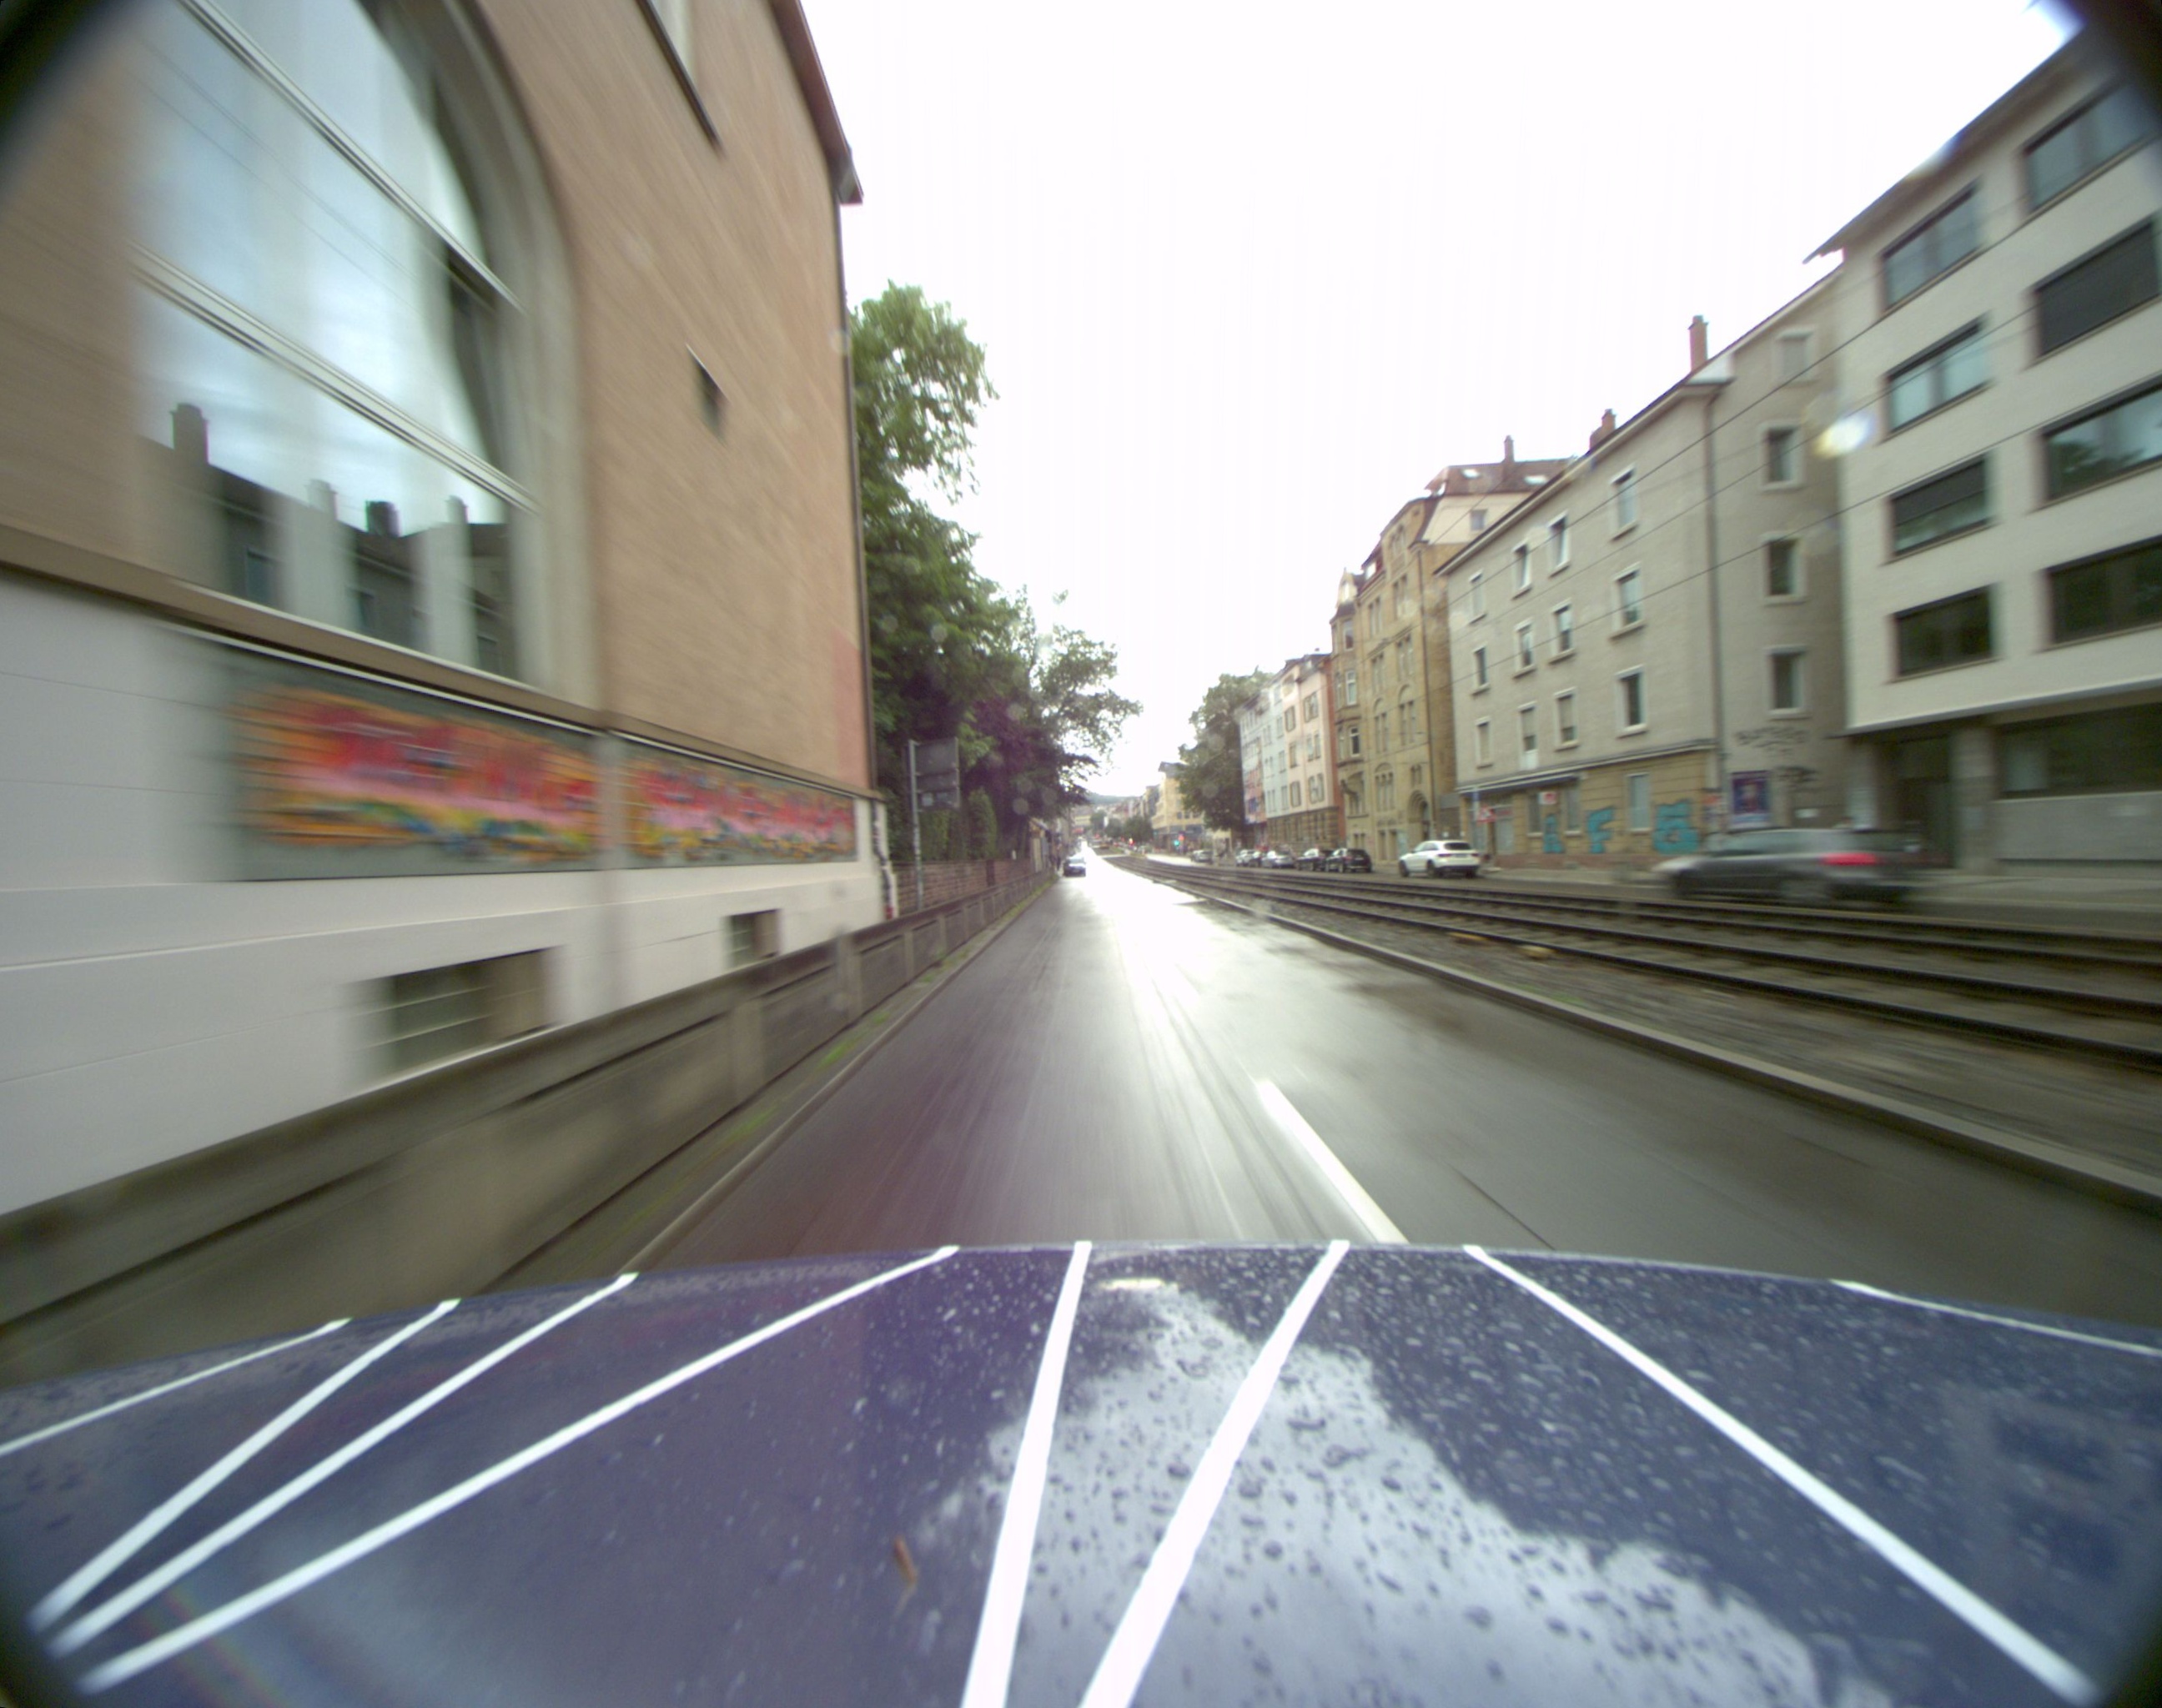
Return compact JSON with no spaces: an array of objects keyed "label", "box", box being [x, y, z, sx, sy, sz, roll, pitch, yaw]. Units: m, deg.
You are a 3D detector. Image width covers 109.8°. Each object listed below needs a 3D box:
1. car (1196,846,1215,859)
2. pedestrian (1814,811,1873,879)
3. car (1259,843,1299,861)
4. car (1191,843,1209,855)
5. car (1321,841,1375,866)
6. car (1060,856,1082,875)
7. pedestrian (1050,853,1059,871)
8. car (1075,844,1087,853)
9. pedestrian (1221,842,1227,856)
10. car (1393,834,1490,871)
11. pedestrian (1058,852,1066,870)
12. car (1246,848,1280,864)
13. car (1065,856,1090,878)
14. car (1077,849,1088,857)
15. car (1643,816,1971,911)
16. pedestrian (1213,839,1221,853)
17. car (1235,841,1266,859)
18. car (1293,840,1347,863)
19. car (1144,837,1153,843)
[{"label":"car","box":[16.499,-0.203,100.946,1.842,1.532,4.228,-1,0,1]},{"label":"pedestrian","box":[18.843,-0.230,18.786,0.548,1.603,0.798,-6,1,3]},{"label":"car","box":[15.905,-0.167,61.200,1.998,1.389,5.022,0,0,1]},{"label":"car","box":[16.472,-0.668,105.601,1.842,1.532,4.228,-1,0,1]},{"label":"car","box":[15.842,-0.028,45.290,1.741,1.447,4.170,0,0,0]},{"label":"car","box":[-0.890,0.969,65.679,1.760,1.521,4.333,-3,0,-1]},{"label":"pedestrian","box":[-2.796,0.822,80.594,0.765,1.902,0.588,-3,1,-2]},{"label":"car","box":[0.018,-1.112,146.760,1.998,1.674,4.124,-3,0,1]},{"label":"pedestrian","box":[18.906,-0.685,100.633,0.651,1.858,0.536,-2,0,4]},{"label":"car","box":[15.797,-0.061,33.605,1.999,1.527,4.748,0,0,0]},{"label":"pedestrian","box":[-2.009,0.773,80.623,0.716,1.879,0.599,-3,1,-2]},{"label":"car","box":[15.968,0.166,66.762,1.843,1.389,4.265,-1,0,-1]},{"label":"car","box":[-0.227,1.022,59.314,1.788,1.521,4.244,-3,0,1]},{"label":"car","box":[0.335,-0.239,160.302,1.998,1.674,4.124,-3,0,1]},{"label":"car","box":[13.329,0.139,14.435,1.945,1.527,4.347,0,0,-3]},{"label":"pedestrian","box":[17.993,-1.030,100.558,0.809,1.858,0.536,-2,0,4]},{"label":"car","box":[16.090,-0.366,72.306,1.843,1.596,4.227,-1,0,-1]},{"label":"car","box":[15.832,-0.172,50.630,1.999,1.447,5.021,0,0,0]},{"label":"car","box":[18.813,-3.861,211.995,1.998,1.674,4.000,-3,0,1]}]
